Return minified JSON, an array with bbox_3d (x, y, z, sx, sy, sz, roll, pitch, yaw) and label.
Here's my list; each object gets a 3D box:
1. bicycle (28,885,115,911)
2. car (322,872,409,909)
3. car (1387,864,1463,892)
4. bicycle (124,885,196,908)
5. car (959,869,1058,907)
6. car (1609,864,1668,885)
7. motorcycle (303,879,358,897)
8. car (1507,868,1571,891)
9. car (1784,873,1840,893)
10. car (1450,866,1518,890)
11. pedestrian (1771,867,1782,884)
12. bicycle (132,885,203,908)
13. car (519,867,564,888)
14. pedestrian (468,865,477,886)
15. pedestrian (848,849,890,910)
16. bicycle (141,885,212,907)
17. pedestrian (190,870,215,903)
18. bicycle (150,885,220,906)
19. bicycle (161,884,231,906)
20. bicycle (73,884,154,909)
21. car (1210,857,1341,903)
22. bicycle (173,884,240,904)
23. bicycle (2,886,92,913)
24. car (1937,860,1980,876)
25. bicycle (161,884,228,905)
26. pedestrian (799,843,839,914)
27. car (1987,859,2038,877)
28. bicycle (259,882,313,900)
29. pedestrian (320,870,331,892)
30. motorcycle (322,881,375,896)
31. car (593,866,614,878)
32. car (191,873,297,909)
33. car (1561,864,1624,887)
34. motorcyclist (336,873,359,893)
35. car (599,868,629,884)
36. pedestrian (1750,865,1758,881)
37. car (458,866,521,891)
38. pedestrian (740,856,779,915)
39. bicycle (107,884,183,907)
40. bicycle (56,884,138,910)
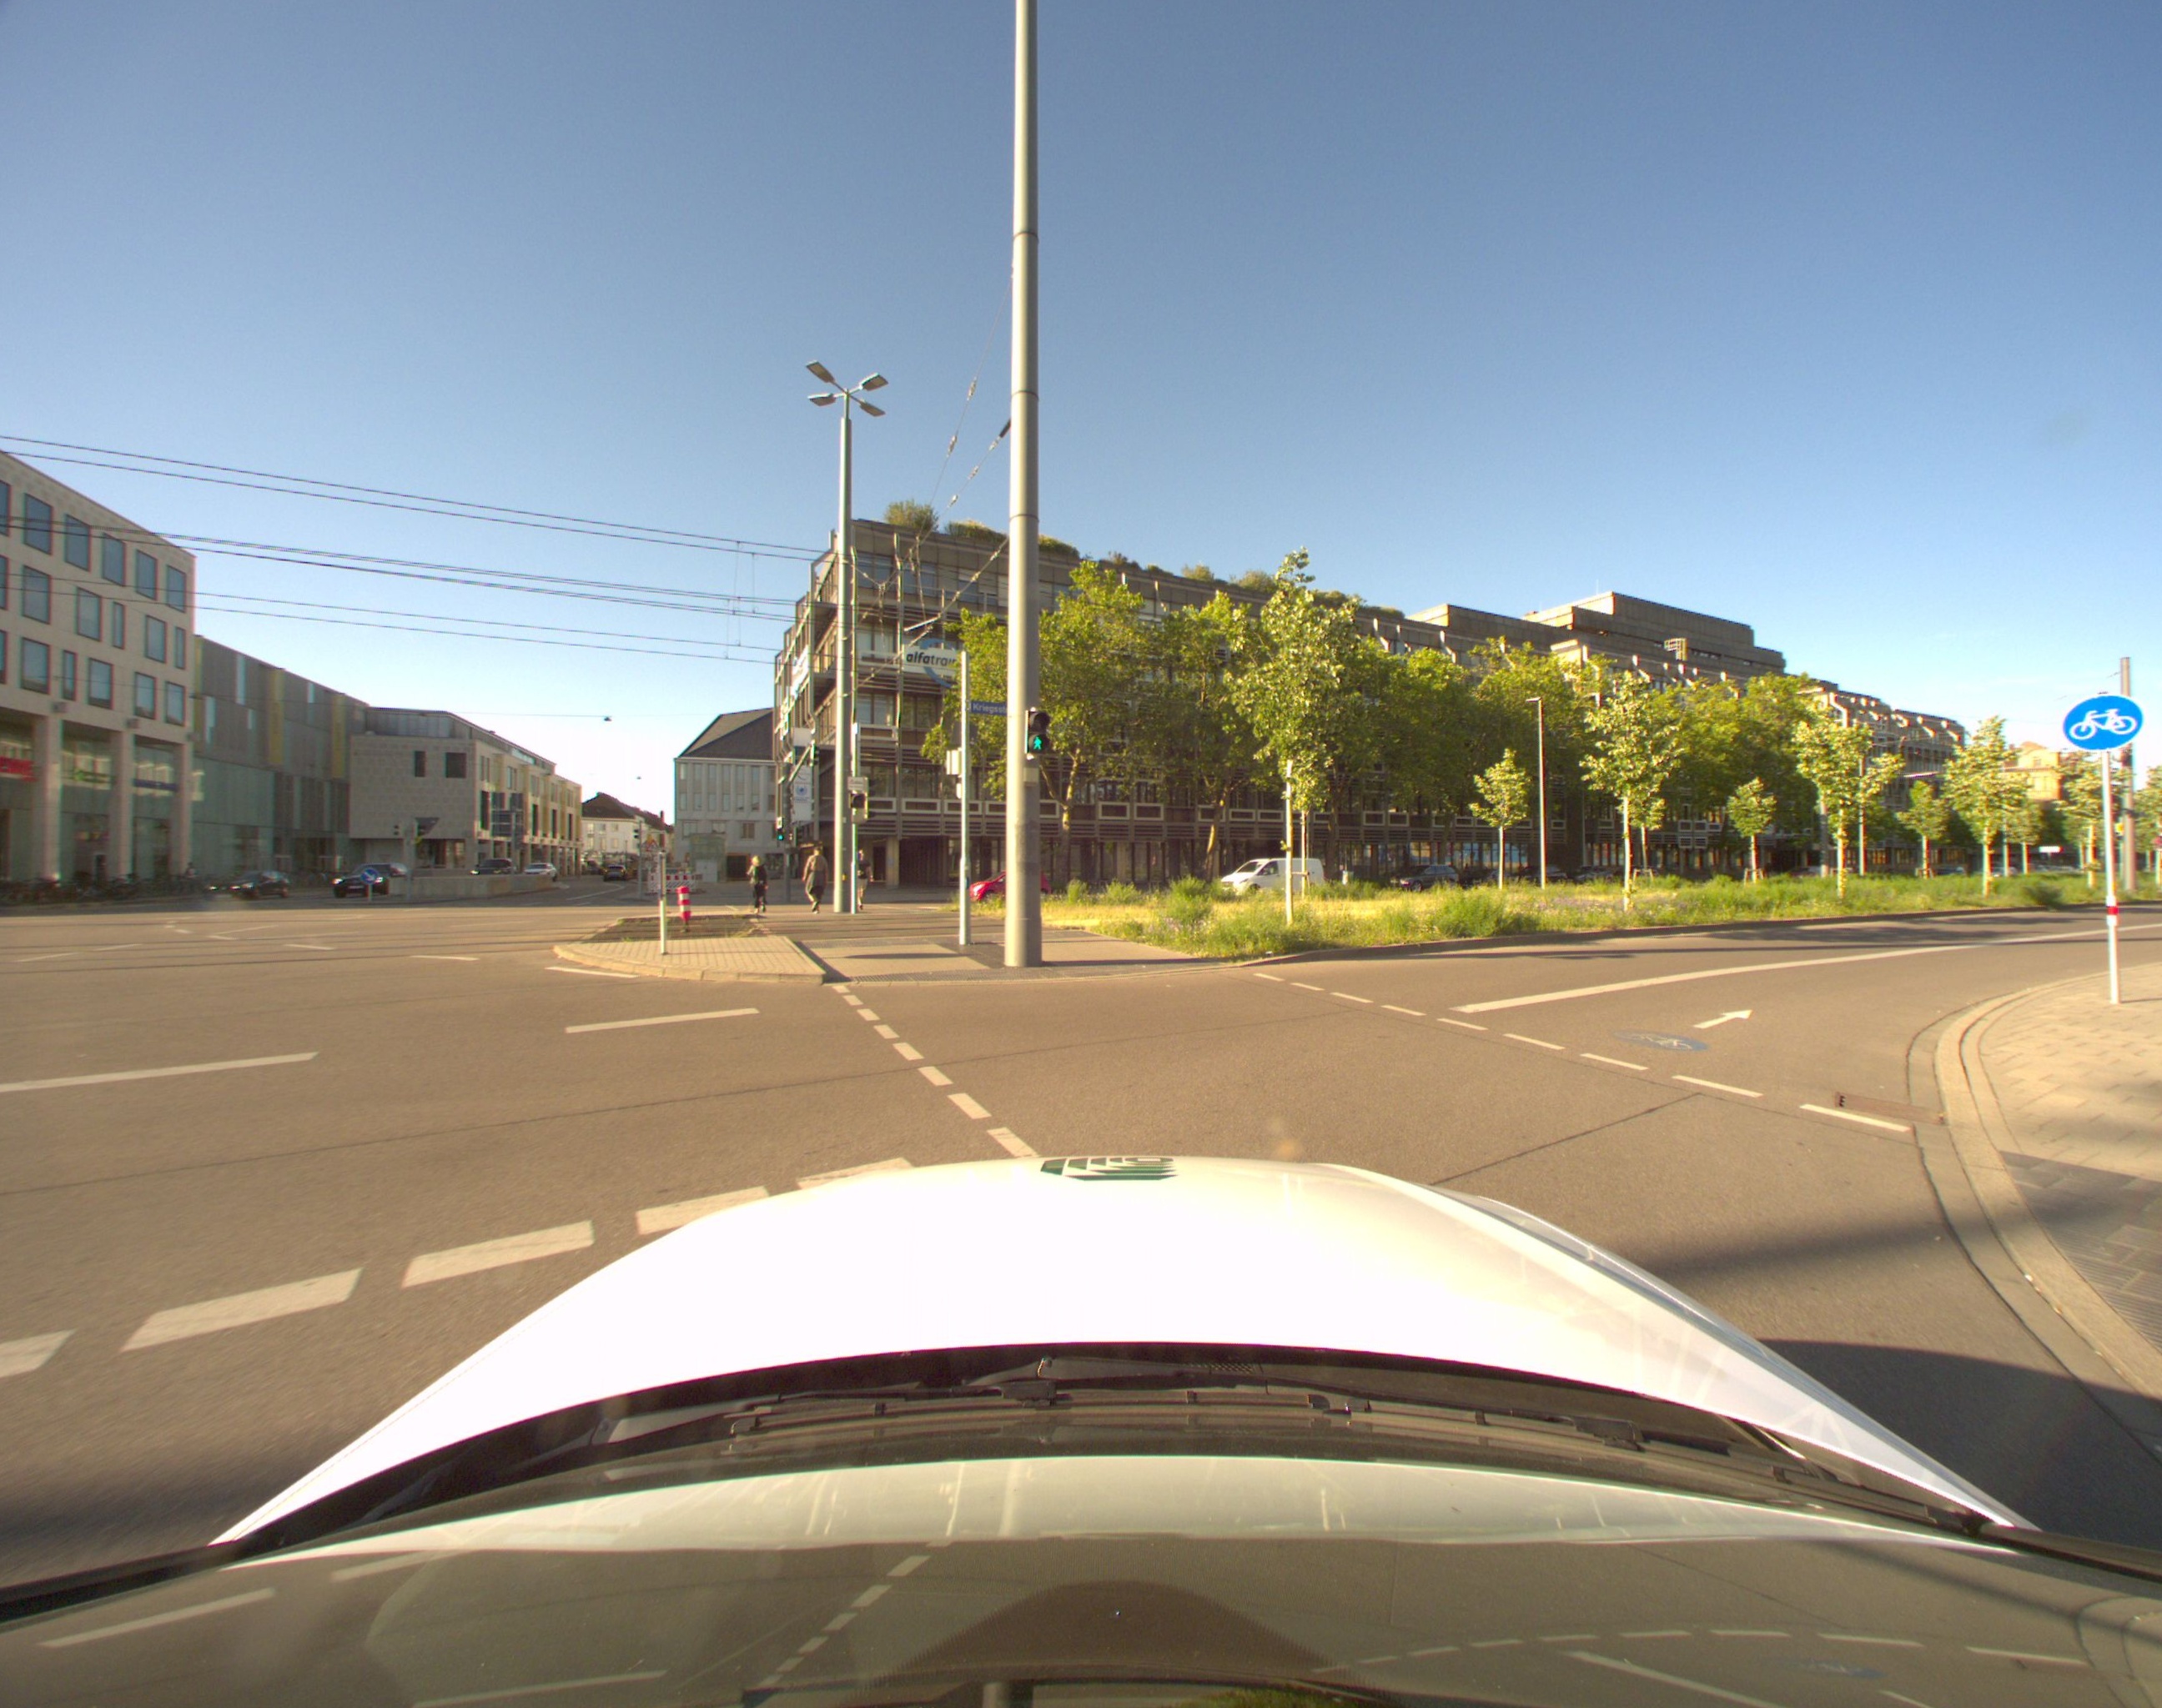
[{"bbox_3d":[-45.669,1.978,36.878,2.476,1.111,0.679,0,-1,-20],"label":"bicycle"},{"bbox_3d":[-34.519,1.719,39.443,1.946,1.677,4.259,0,-1,-24],"label":"car"},{"bbox_3d":[22.345,1.518,52.876,4.881,1.680,1.982,1,0,-29],"label":"car"},{"bbox_3d":[-47.522,2.199,42.039,2.475,1.111,0.589,0,-1,-19],"label":"bicycle"},{"bbox_3d":[-3.167,1.483,35.547,3.886,1.486,1.830,0,-4,-25],"label":"car"},{"bbox_3d":[43.243,1.575,63.149,4.284,1.596,1.851,1,-2,-26],"label":"car"},{"bbox_3d":[-52.984,2.375,57.549,2.682,1.217,0.908,2,-2,-27],"label":"motorcycle"},{"bbox_3d":[32.523,1.800,57.792,4.633,1.557,1.734,0,0,-28],"label":"car"},{"bbox_3d":[56.645,2.269,63.128,3.576,1.453,1.704,0,-4,-20],"label":"car"},{"bbox_3d":[27.288,1.606,55.165,4.004,1.521,1.985,0,0,-23],"label":"car"},{"bbox_3d":[64.994,2.000,76.107,0.657,1.532,0.653,-1,-2,32],"label":"pedestrian"},{"bbox_3d":[-47.732,2.208,42.574,2.475,1.111,0.534,0,-1,-19],"label":"bicycle"},{"bbox_3d":[-45.799,1.972,69.304,2.183,1.692,5.571,0,-2,-23],"label":"car"},{"bbox_3d":[-60.450,2.135,80.859,0.620,2.014,0.473,2,-2,-34],"label":"pedestrian"},{"bbox_3d":[-6.689,0.798,25.784,1.007,1.911,1.051,0,-1,3],"label":"pedestrian"},{"bbox_3d":[-47.942,2.221,43.182,2.475,1.111,0.679,0,-1,-19],"label":"bicycle"},{"bbox_3d":[-54.588,2.003,50.623,0.954,1.982,0.995,1,-2,-44],"label":"pedestrian"},{"bbox_3d":[-48.262,2.226,43.885,2.475,1.111,0.679,0,-1,-19],"label":"bicycle"},{"bbox_3d":[-48.614,2.242,44.765,2.475,1.111,0.829,0,-1,-19],"label":"bicycle"},{"bbox_3d":[-46.267,2.010,38.958,2.475,1.111,0.679,0,-1,-19],"label":"bicycle"},{"bbox_3d":[9.009,1.182,37.691,5.718,2.014,2.247,0,-3,-25],"label":"car"},{"bbox_3d":[-49.876,2.270,46.497,2.475,1.111,0.829,0,-1,-19],"label":"bicycle"},{"bbox_3d":[-45.194,1.975,35.628,2.411,1.113,0.653,0,-1,-21],"label":"bicycle"},{"bbox_3d":[88.860,1.377,82.470,4.311,1.575,1.892,0,-1,-28],"label":"car"},{"bbox_3d":[-49.368,2.250,45.360,2.475,1.111,0.679,0,-1,-19],"label":"bicycle"},{"bbox_3d":[-6.642,0.599,20.662,0.860,1.744,0.732,0,0,-28],"label":"pedestrian"},{"bbox_3d":[85.461,1.295,74.702,4.699,1.594,1.831,0,-1,-25],"label":"car"},{"bbox_3d":[-52.382,2.409,53.651,2.475,1.111,0.656,0,-1,-19],"label":"bicycle"},{"bbox_3d":[-68.886,2.473,74.262,0.620,2.014,0.473,2,-2,-34],"label":"pedestrian"},{"bbox_3d":[-53.734,2.530,59.773,2.682,0.996,0.908,2,-2,-27],"label":"motorcycle"},{"bbox_3d":[-77.844,2.924,132.846,2.184,1.873,5.570,0,-2,-24],"label":"car"},{"bbox_3d":[-40.029,1.713,39.082,1.945,1.581,4.263,0,-1,-22],"label":"car"},{"bbox_3d":[38.285,1.640,60.945,4.368,1.633,1.901,0,-3,-24],"label":"car"},{"bbox_3d":[-53.796,2.130,59.737,1.042,1.471,0.908,2,-2,-27],"label":"motorcyclist"},{"bbox_3d":[-44.687,2.116,78.017,1.945,1.450,4.228,0,-2,-23],"label":"car"},{"bbox_3d":[65.797,1.866,79.586,0.448,1.562,0.407,0,-1,-26],"label":"pedestrian"},{"bbox_3d":[-42.074,1.710,58.057,2.181,1.692,5.449,0,-2,-20],"label":"car"},{"bbox_3d":[-8.727,0.825,22.086,0.900,1.549,0.916,0,1,-26],"label":"pedestrian"},{"bbox_3d":[-46.724,2.063,40.684,2.475,1.111,0.679,0,-1,-19],"label":"bicycle"},{"bbox_3d":[-46.086,2.003,38.169,2.474,1.111,0.680,0,-1,-18],"label":"bicycle"}]
